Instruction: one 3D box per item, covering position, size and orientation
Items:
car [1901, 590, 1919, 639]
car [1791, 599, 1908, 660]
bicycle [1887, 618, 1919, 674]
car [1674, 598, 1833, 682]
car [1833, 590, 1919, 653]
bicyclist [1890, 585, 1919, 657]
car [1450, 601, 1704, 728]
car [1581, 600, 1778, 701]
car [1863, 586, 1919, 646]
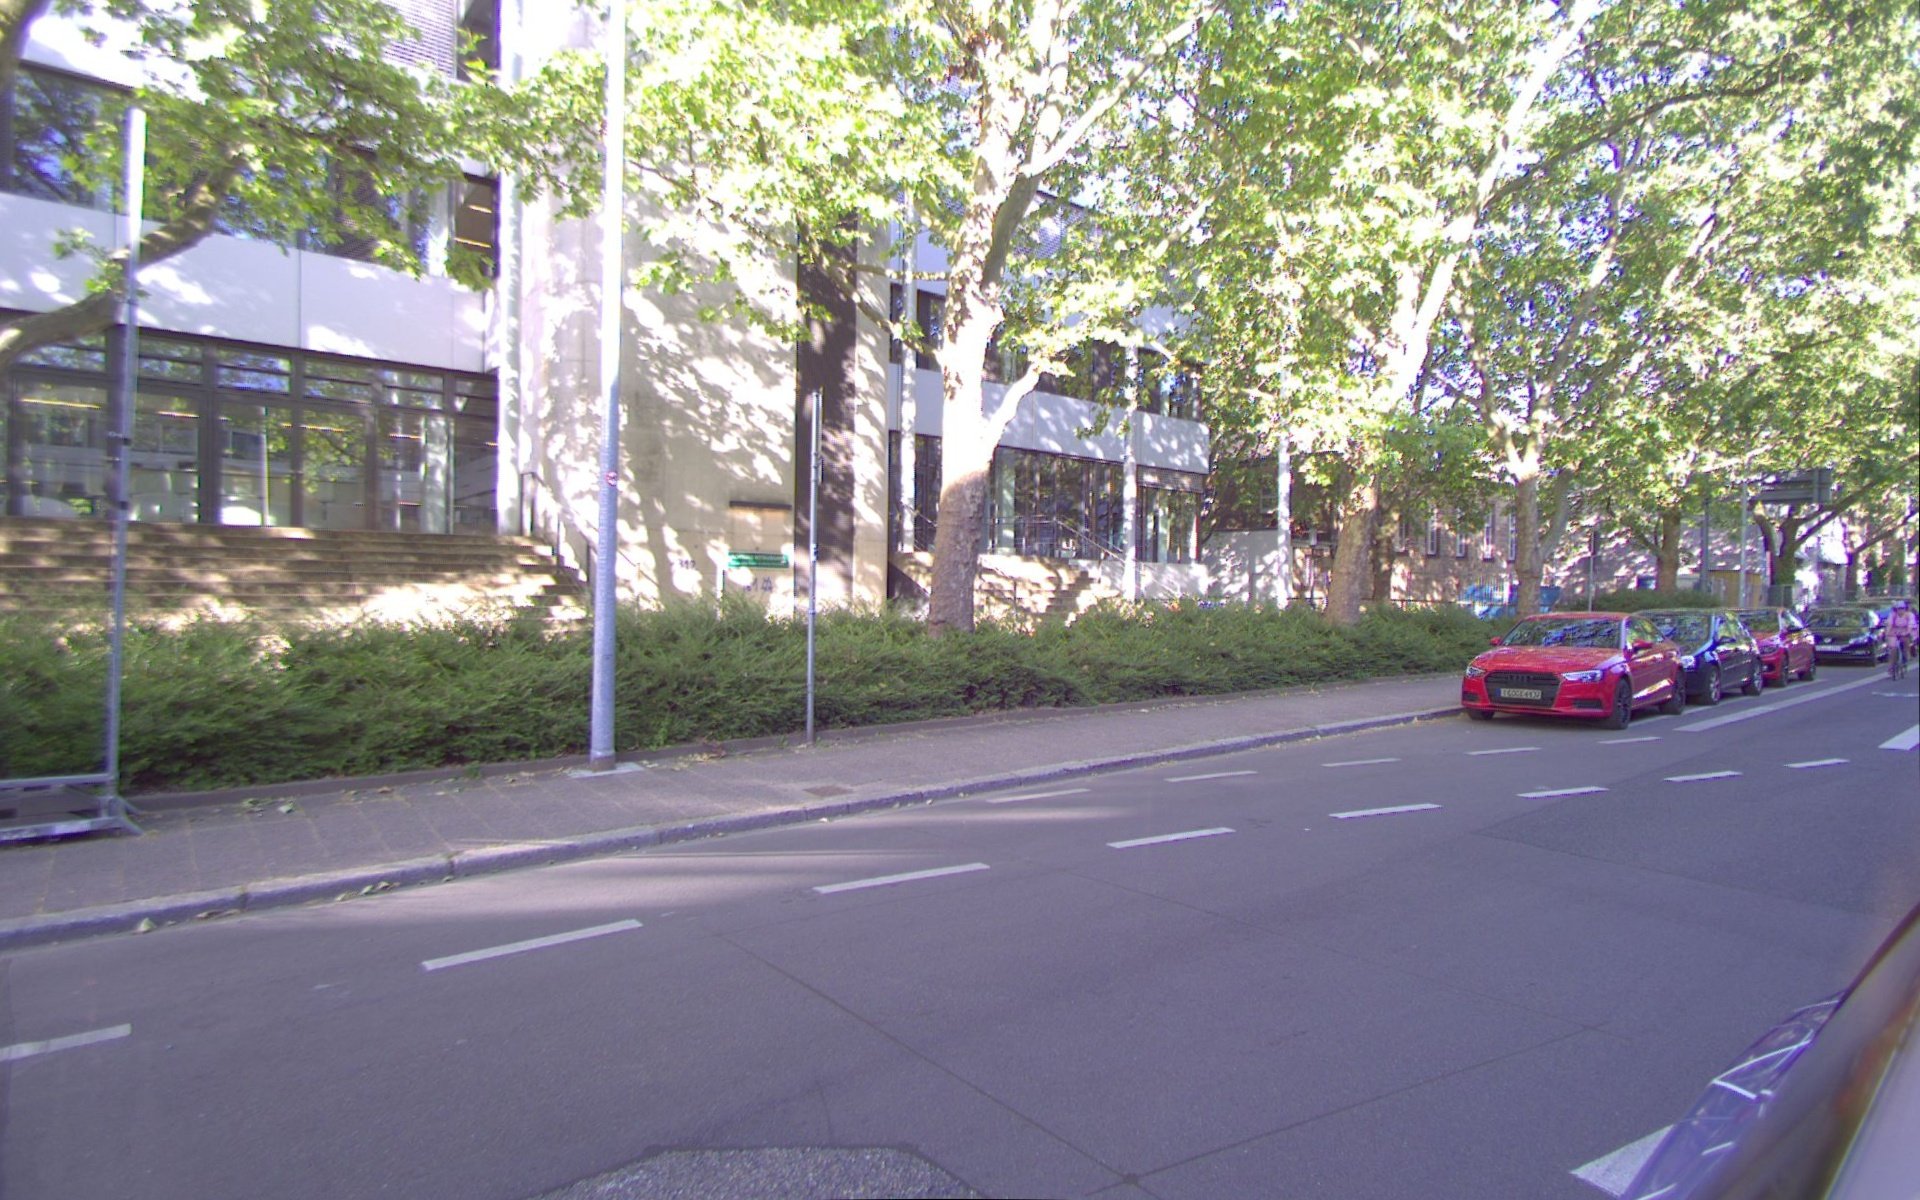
[{"bbox_3d":[36.196,0.518,37.264,4.370,1.750,1.753,0,-1,-41],"label":"car"},{"bbox_3d":[22.948,0.719,26.065,3.841,1.451,1.753,0,-1,-41],"label":"car"},{"bbox_3d":[19.586,0.929,20.775,1.567,1.073,0.650,0,0,-41],"label":"bicycle"},{"bbox_3d":[15.702,0.723,19.967,3.841,1.486,1.753,0,-1,-41],"label":"car"},{"bbox_3d":[26.715,0.588,29.178,4.101,1.674,1.753,0,-1,-41],"label":"car"},{"bbox_3d":[19.643,0.428,20.825,0.728,1.453,0.650,0,0,-41],"label":"bicyclist"},{"bbox_3d":[8.275,0.744,13.446,3.930,1.427,1.753,0,-1,-41],"label":"car"},{"bbox_3d":[11.851,0.742,16.591,3.841,1.451,1.753,0,-1,-41],"label":"car"},{"bbox_3d":[30.972,0.488,32.968,4.370,1.843,1.753,0,-1,-41],"label":"car"}]
